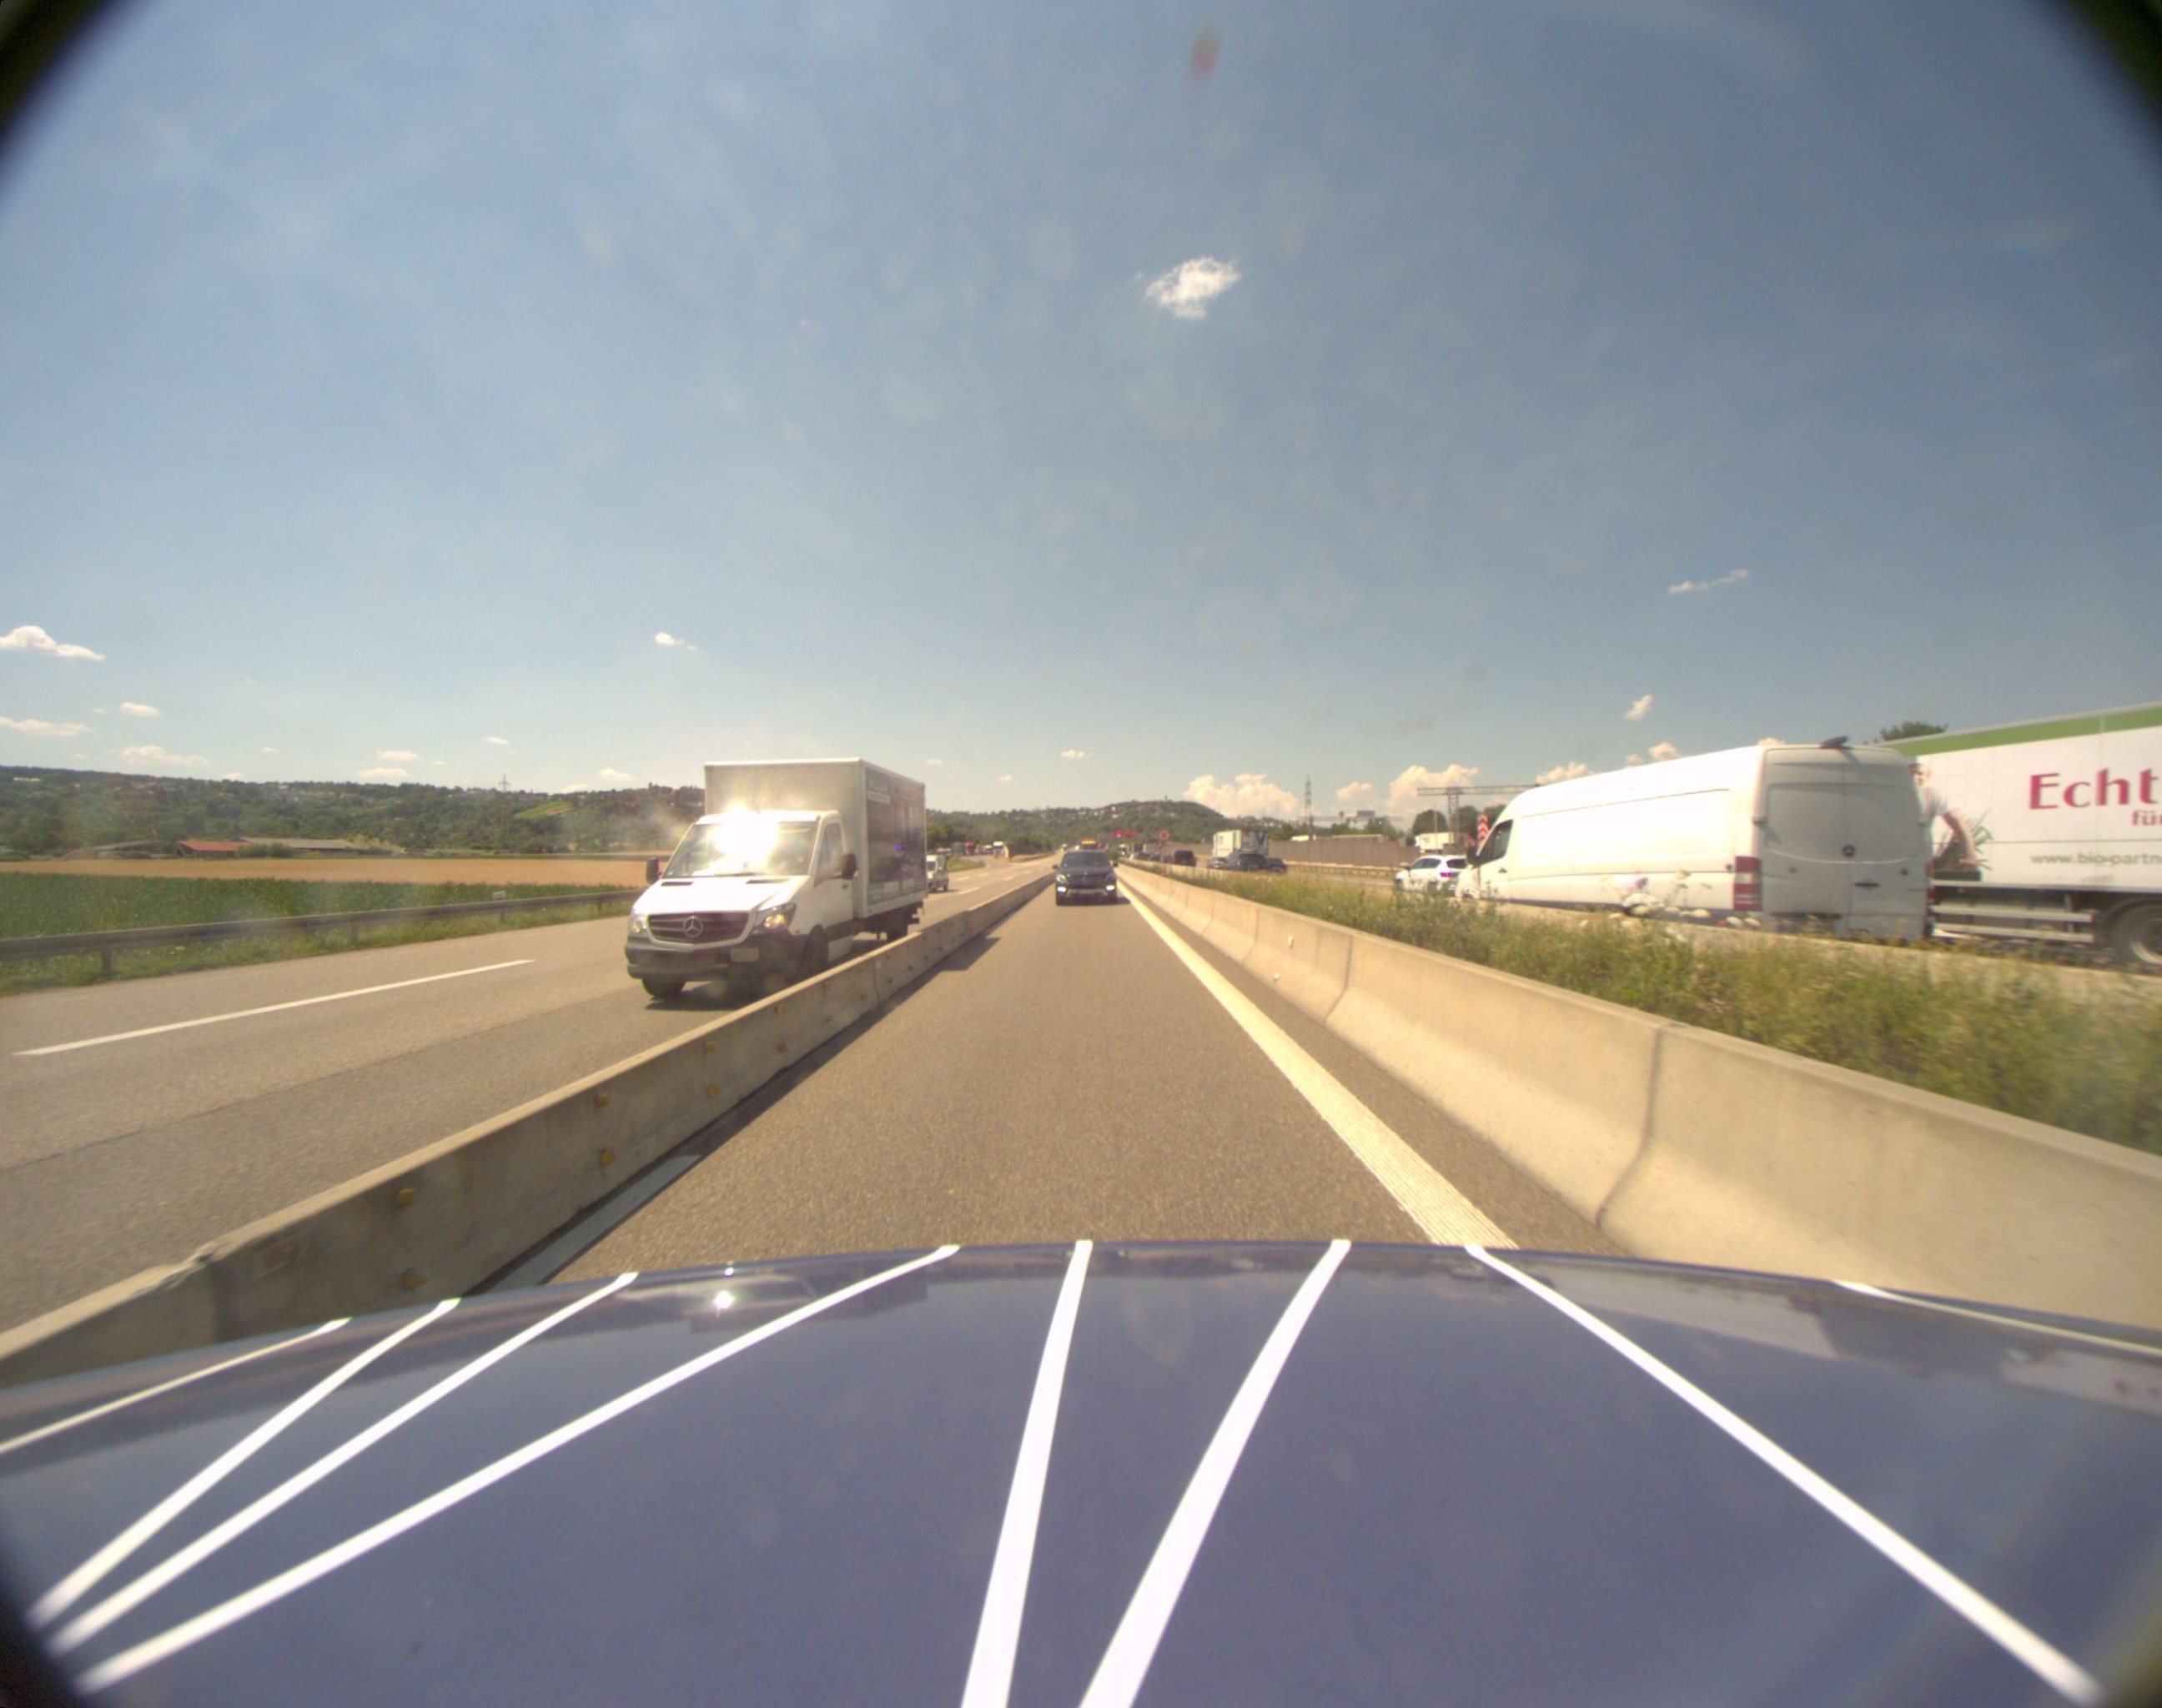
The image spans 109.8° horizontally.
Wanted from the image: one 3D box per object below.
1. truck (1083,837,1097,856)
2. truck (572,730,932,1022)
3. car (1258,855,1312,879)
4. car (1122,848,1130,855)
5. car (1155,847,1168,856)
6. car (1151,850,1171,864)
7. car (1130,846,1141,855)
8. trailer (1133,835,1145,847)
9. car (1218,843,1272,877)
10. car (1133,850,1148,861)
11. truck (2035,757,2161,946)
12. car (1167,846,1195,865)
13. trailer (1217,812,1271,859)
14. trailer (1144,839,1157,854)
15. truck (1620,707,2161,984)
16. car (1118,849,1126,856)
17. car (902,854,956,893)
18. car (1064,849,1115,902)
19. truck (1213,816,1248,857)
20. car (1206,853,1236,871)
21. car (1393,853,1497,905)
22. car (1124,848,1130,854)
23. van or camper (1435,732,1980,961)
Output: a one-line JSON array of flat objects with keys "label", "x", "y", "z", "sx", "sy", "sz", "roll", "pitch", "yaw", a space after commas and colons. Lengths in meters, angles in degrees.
[{"label": "truck", "x": 1.653, "y": -1.363, "z": 131.954, "sx": 2.272, "sy": 3.139, "sz": 8.186, "roll": -2, "pitch": 1, "yaw": 1}, {"label": "truck", "x": -4.174, "y": 0.257, "z": 11.490, "sx": 2.326, "sy": 3.049, "sz": 6.751, "roll": -2, "pitch": 0, "yaw": 1}, {"label": "car", "x": 12.637, "y": 0.768, "z": 47.323, "sx": 2.019, "sy": 1.378, "sz": 5.085, "roll": 0, "pitch": 0, "yaw": 0}, {"label": "car", "x": 10.254, "y": -0.502, "z": 172.005, "sx": 1.659, "sy": 1.510, "sz": 3.999, "roll": -1, "pitch": 1, "yaw": 1}, {"label": "car", "x": 13.795, "y": -0.465, "z": 130.549, "sx": 1.816, "sy": 1.477, "sz": 4.962, "roll": -1, "pitch": 1, "yaw": 1}, {"label": "car", "x": 8.309, "y": 0.316, "z": 79.334, "sx": 1.659, "sy": 1.344, "sz": 4.266, "roll": -1, "pitch": 0, "yaw": 1}, {"label": "car", "x": 9.995, "y": -0.693, "z": 138.926, "sx": 1.679, "sy": 1.510, "sz": 4.507, "roll": -1, "pitch": 1, "yaw": 1}, {"label": "trailer", "x": 19.015, "y": -4.241, "z": 249.881, "sx": 2.991, "sy": 4.043, "sz": 15.161, "roll": -1, "pitch": 1, "yaw": 1}, {"label": "car", "x": 8.137, "y": 0.256, "z": 38.022, "sx": 1.786, "sy": 1.580, "sz": 4.541, "roll": -1, "pitch": 0, "yaw": 1}, {"label": "car", "x": 8.932, "y": 0.184, "z": 114.906, "sx": 1.895, "sy": 1.608, "sz": 4.820, "roll": -1, "pitch": 1, "yaw": 1}, {"label": "truck", "x": 22.304, "y": -0.006, "z": 10.555, "sx": 2.904, "sy": 3.755, "sz": 13.297, "roll": 2, "pitch": 0, "yaw": 9}, {"label": "car", "x": 8.698, "y": 0.154, "z": 66.409, "sx": 1.848, "sy": 1.560, "sz": 5.344, "roll": -1, "pitch": 0, "yaw": 1}, {"label": "trailer", "x": 16.521, "y": -1.817, "z": 78.092, "sx": 2.900, "sy": 4.350, "sz": 12.992, "roll": 1, "pitch": 1, "yaw": 1}, {"label": "trailer", "x": 17.723, "y": -1.942, "z": 193.387, "sx": 2.654, "sy": 3.851, "sz": 6.616, "roll": 0, "pitch": 1, "yaw": 1}, {"label": "truck", "x": 15.445, "y": -0.093, "z": 13.240, "sx": 2.801, "sy": 3.588, "sz": 13.288, "roll": 2, "pitch": 0, "yaw": 1}, {"label": "car", "x": 11.198, "y": -0.381, "z": 208.807, "sx": 1.998, "sy": 1.749, "sz": 4.644, "roll": -1, "pitch": 0, "yaw": 1}, {"label": "car", "x": -7.181, "y": 0.891, "z": 36.323, "sx": 1.630, "sy": 1.726, "sz": 3.973, "roll": -2, "pitch": 0, "yaw": 1}, {"label": "car", "x": 0.340, "y": 0.711, "z": 27.000, "sx": 1.630, "sy": 1.711, "sz": 3.865, "roll": -2, "pitch": 0, "yaw": 1}, {"label": "truck", "x": 16.599, "y": -1.904, "z": 84.791, "sx": 2.878, "sy": 4.350, "sz": 4.902, "roll": 1, "pitch": 1, "yaw": 1}, {"label": "car", "x": 12.549, "y": 0.670, "z": 68.230, "sx": 1.851, "sy": 1.474, "sz": 4.921, "roll": 2, "pitch": 0, "yaw": 1}, {"label": "car", "x": 12.094, "y": 0.767, "z": 25.526, "sx": 1.563, "sy": 1.613, "sz": 4.045, "roll": 0, "pitch": 0, "yaw": 0}, {"label": "car", "x": 14.978, "y": -1.090, "z": 247.940, "sx": 1.998, "sy": 2.002, "sz": 4.346, "roll": 0, "pitch": 0, "yaw": 3}, {"label": "van or camper", "x": 7.888, "y": -0.080, "z": 11.125, "sx": 2.040, "sy": 2.208, "sz": 7.207, "roll": -2, "pitch": 0, "yaw": 1}]
